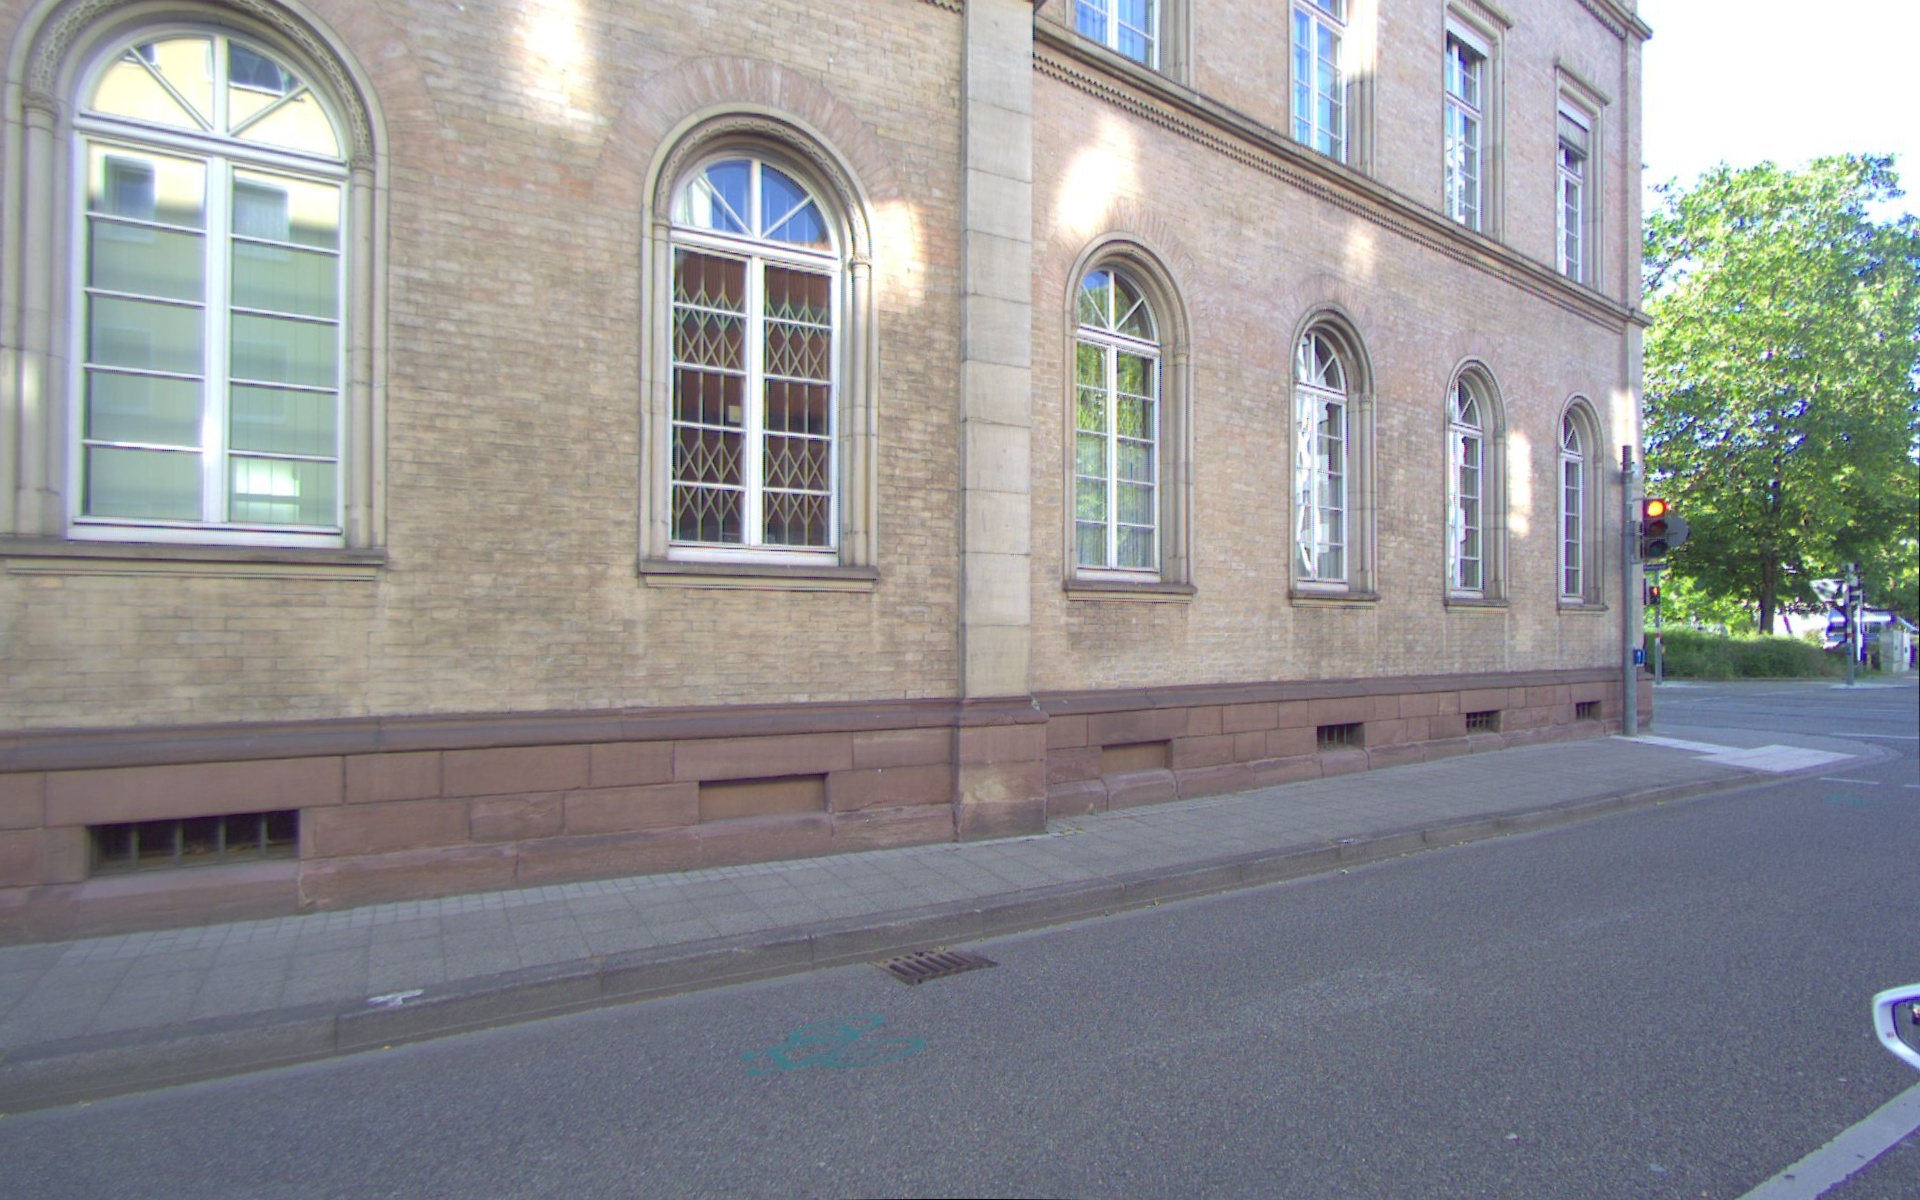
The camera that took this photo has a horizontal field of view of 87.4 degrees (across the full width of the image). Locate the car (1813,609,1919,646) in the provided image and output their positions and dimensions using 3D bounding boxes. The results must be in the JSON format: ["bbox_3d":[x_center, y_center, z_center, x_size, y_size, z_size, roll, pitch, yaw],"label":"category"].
[{"bbox_3d":[53.510,1.607,59.395,1.983,2.040,4.409,2,0,-38],"label":"car"}]

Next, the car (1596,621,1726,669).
[{"bbox_3d":[24.390,1.525,35.031,1.636,1.476,3.382,2,0,-39],"label":"car"}]
